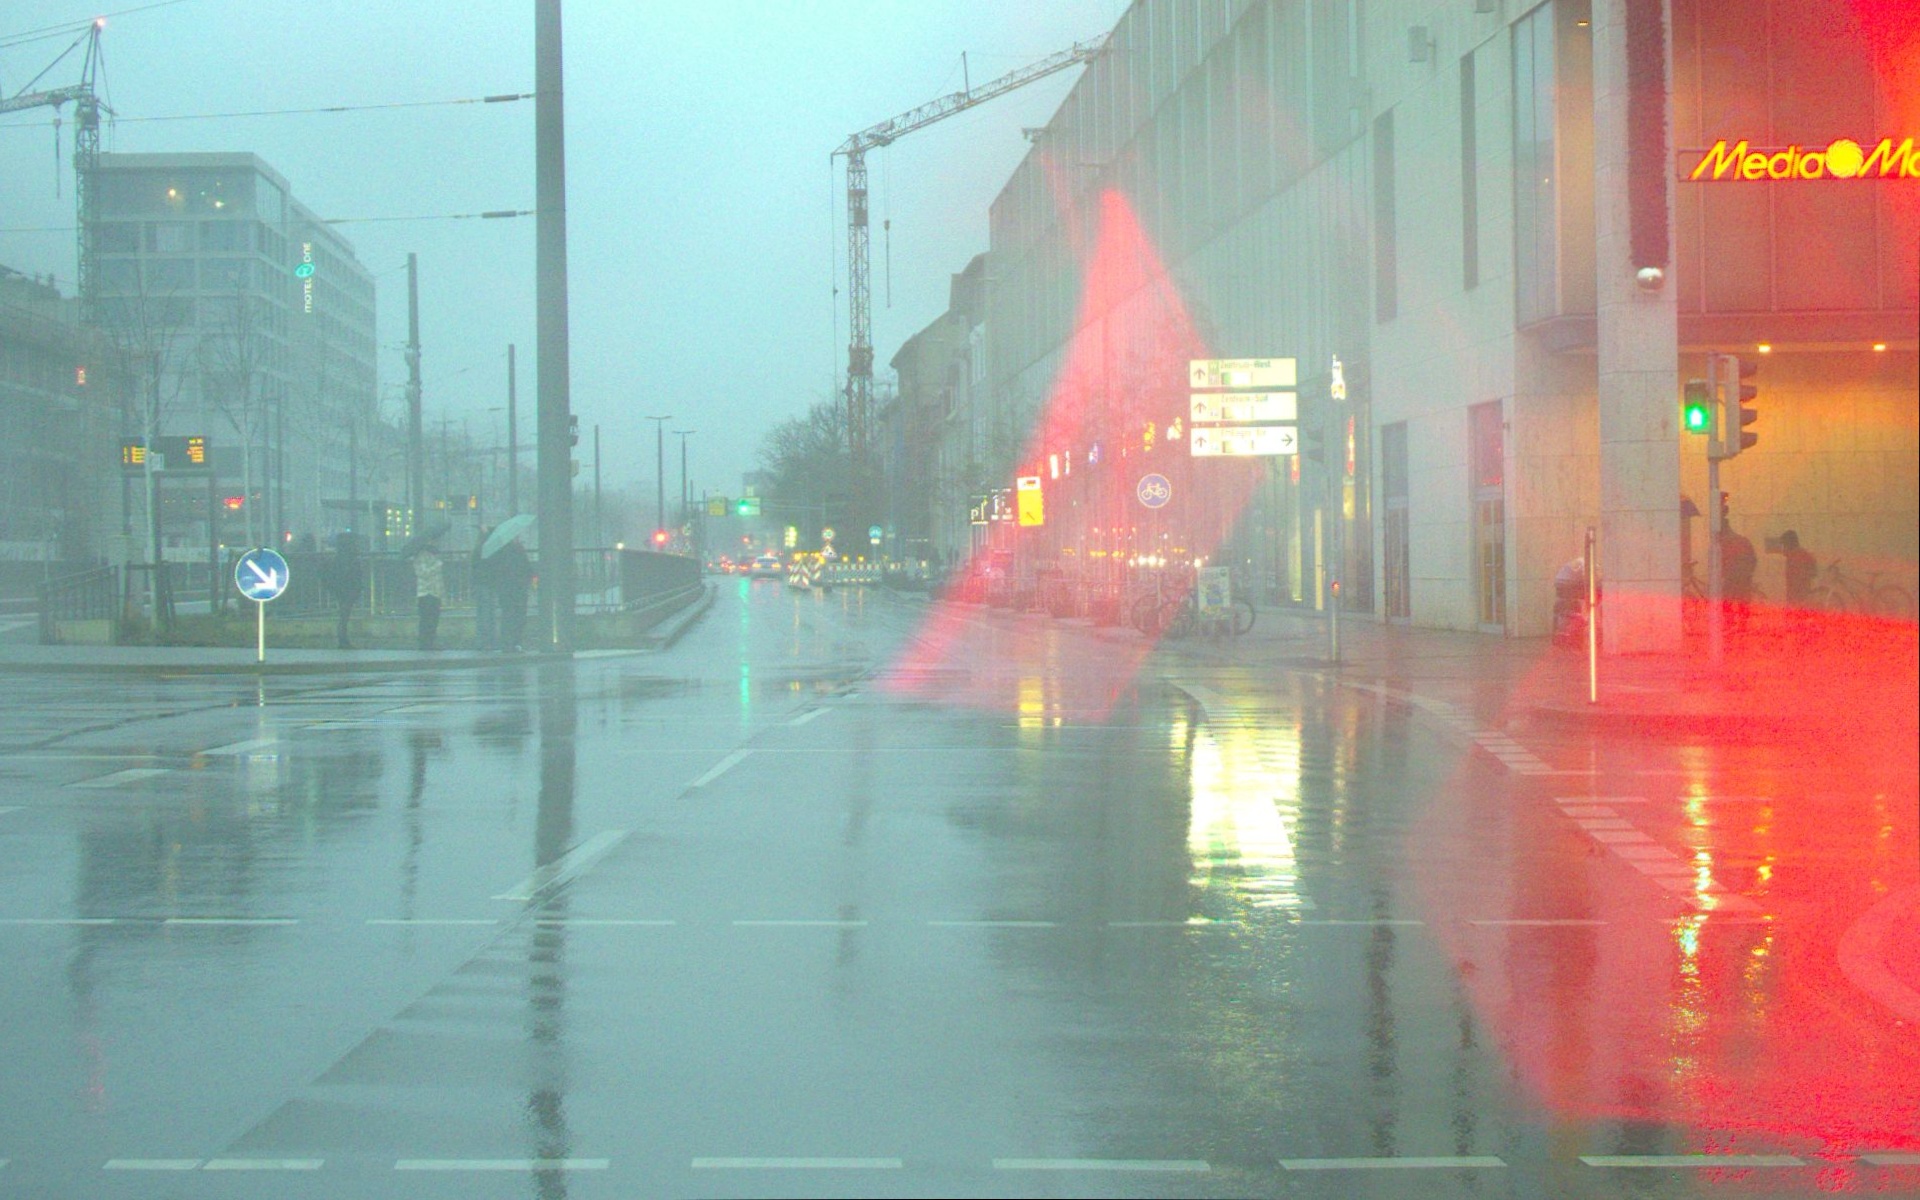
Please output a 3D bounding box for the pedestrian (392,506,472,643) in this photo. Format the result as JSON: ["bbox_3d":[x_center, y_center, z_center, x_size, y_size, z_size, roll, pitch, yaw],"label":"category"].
[{"bbox_3d":[-7.138,-0.346,46.481,0.821,1.825,0.786,1,0,-31],"label":"pedestrian"}]

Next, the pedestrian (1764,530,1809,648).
[{"bbox_3d":[11.682,-0.160,48.585,0.485,1.657,0.457,-1,0,30],"label":"pedestrian"}]

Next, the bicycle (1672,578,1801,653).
[{"bbox_3d":[11.442,0.226,50.700,1.767,1.066,0.525,1,0,-6],"label":"bicycle"}]

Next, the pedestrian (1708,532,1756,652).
[{"bbox_3d":[11.243,-0.120,50.075,0.600,1.739,0.524,1,0,8],"label":"pedestrian"}]

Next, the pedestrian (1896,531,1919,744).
[{"bbox_3d":[11.281,0.428,39.642,0.714,2.433,0.758,1,0,-1],"label":"pedestrian"}]

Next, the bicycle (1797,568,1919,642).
[{"bbox_3d":[13.267,0.071,50.817,1.646,1.066,0.525,1,0,-4],"label":"bicycle"}]

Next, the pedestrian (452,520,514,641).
[{"bbox_3d":[-6.652,-0.273,47.954,0.612,1.680,0.577,1,1,42],"label":"pedestrian"}]

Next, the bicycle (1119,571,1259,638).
[{"bbox_3d":[4.100,0.082,61.579,2.442,1.150,0.674,-1,0,-1],"label":"bicycle"}]

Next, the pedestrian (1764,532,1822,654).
[{"bbox_3d":[11.778,-0.099,48.618,0.636,1.703,0.573,-1,0,-1],"label":"pedestrian"}]

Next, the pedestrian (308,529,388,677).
[{"bbox_3d":[-8.431,0.035,47.369,0.785,2.007,0.726,1,1,42],"label":"pedestrian"}]
